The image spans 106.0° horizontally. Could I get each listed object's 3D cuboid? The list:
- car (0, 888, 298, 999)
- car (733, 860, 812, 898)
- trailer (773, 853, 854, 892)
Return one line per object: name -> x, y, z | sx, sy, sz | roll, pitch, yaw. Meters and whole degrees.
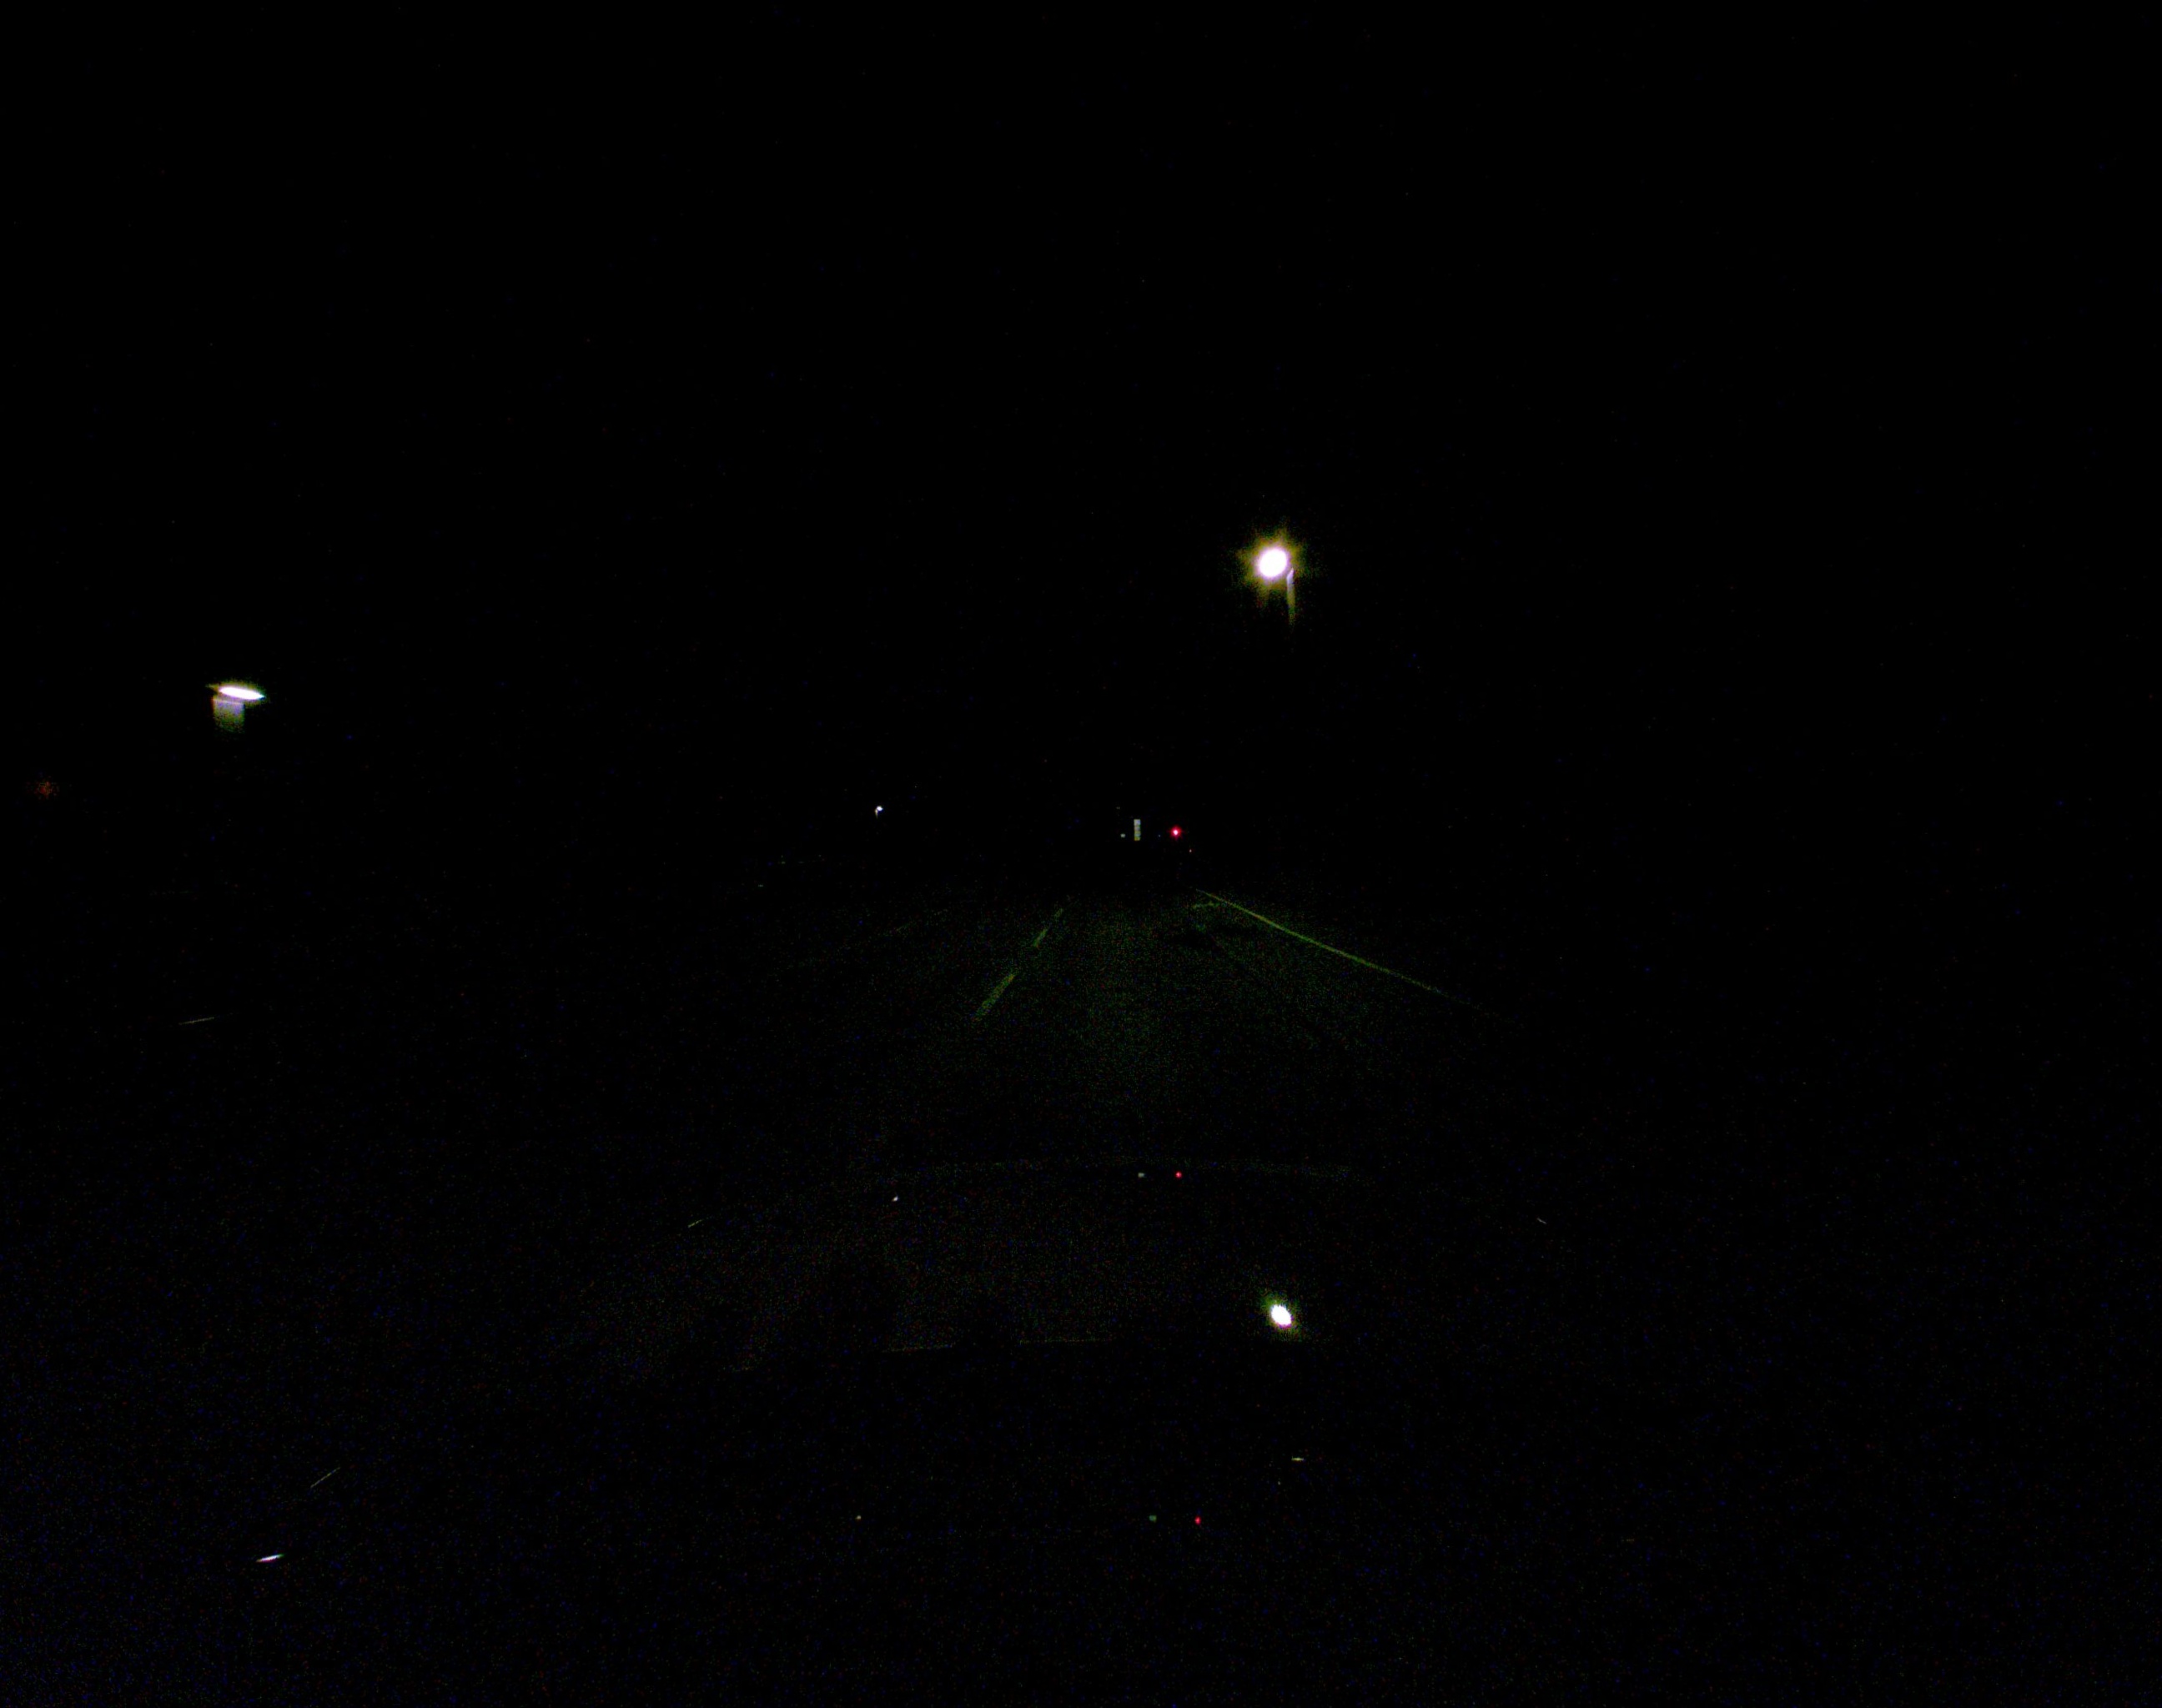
car -> -15.301, 1.352, 12.848 | 1.722, 1.364, 4.147 | -5, -1, 2
car -> -14.371, 1.111, 38.212 | 1.710, 1.577, 4.539 | -3, 0, 3
trailer -> -14.119, 0.927, 43.374 | 2.016, 1.780, 5.679 | -4, 0, 3
